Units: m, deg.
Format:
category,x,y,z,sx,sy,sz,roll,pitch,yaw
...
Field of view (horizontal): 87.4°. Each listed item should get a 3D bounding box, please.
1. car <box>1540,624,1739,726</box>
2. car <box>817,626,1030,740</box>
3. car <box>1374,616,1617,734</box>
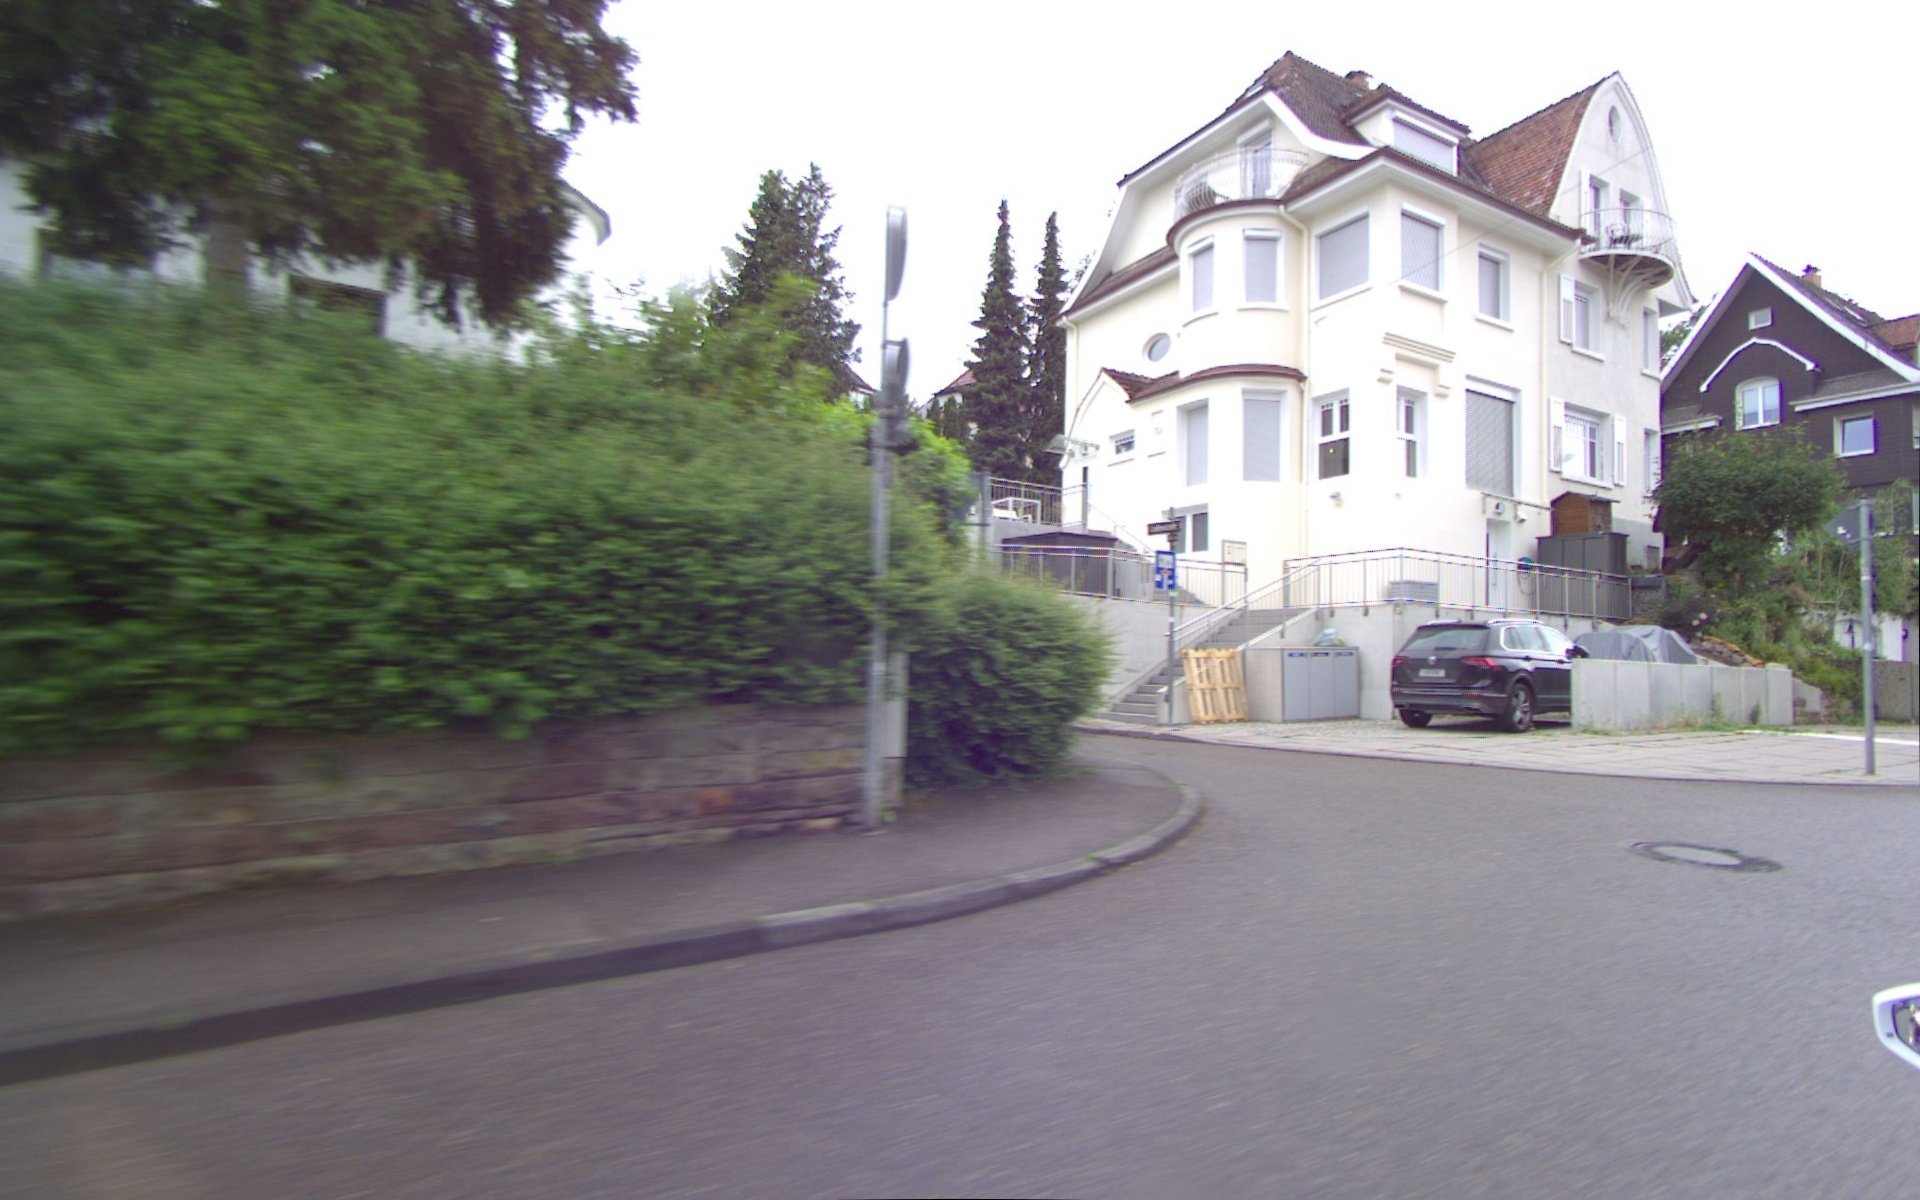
category,x,y,z,sx,sy,sz,roll,pitch,yaw
car,12.751,1.338,18.795,3.959,1.719,1.755,2,-2,-34
car,-0.800,1.379,18.111,1.803,1.577,4.338,2,1,-34
car,8.474,1.112,15.799,3.959,1.639,1.755,2,-2,-34
